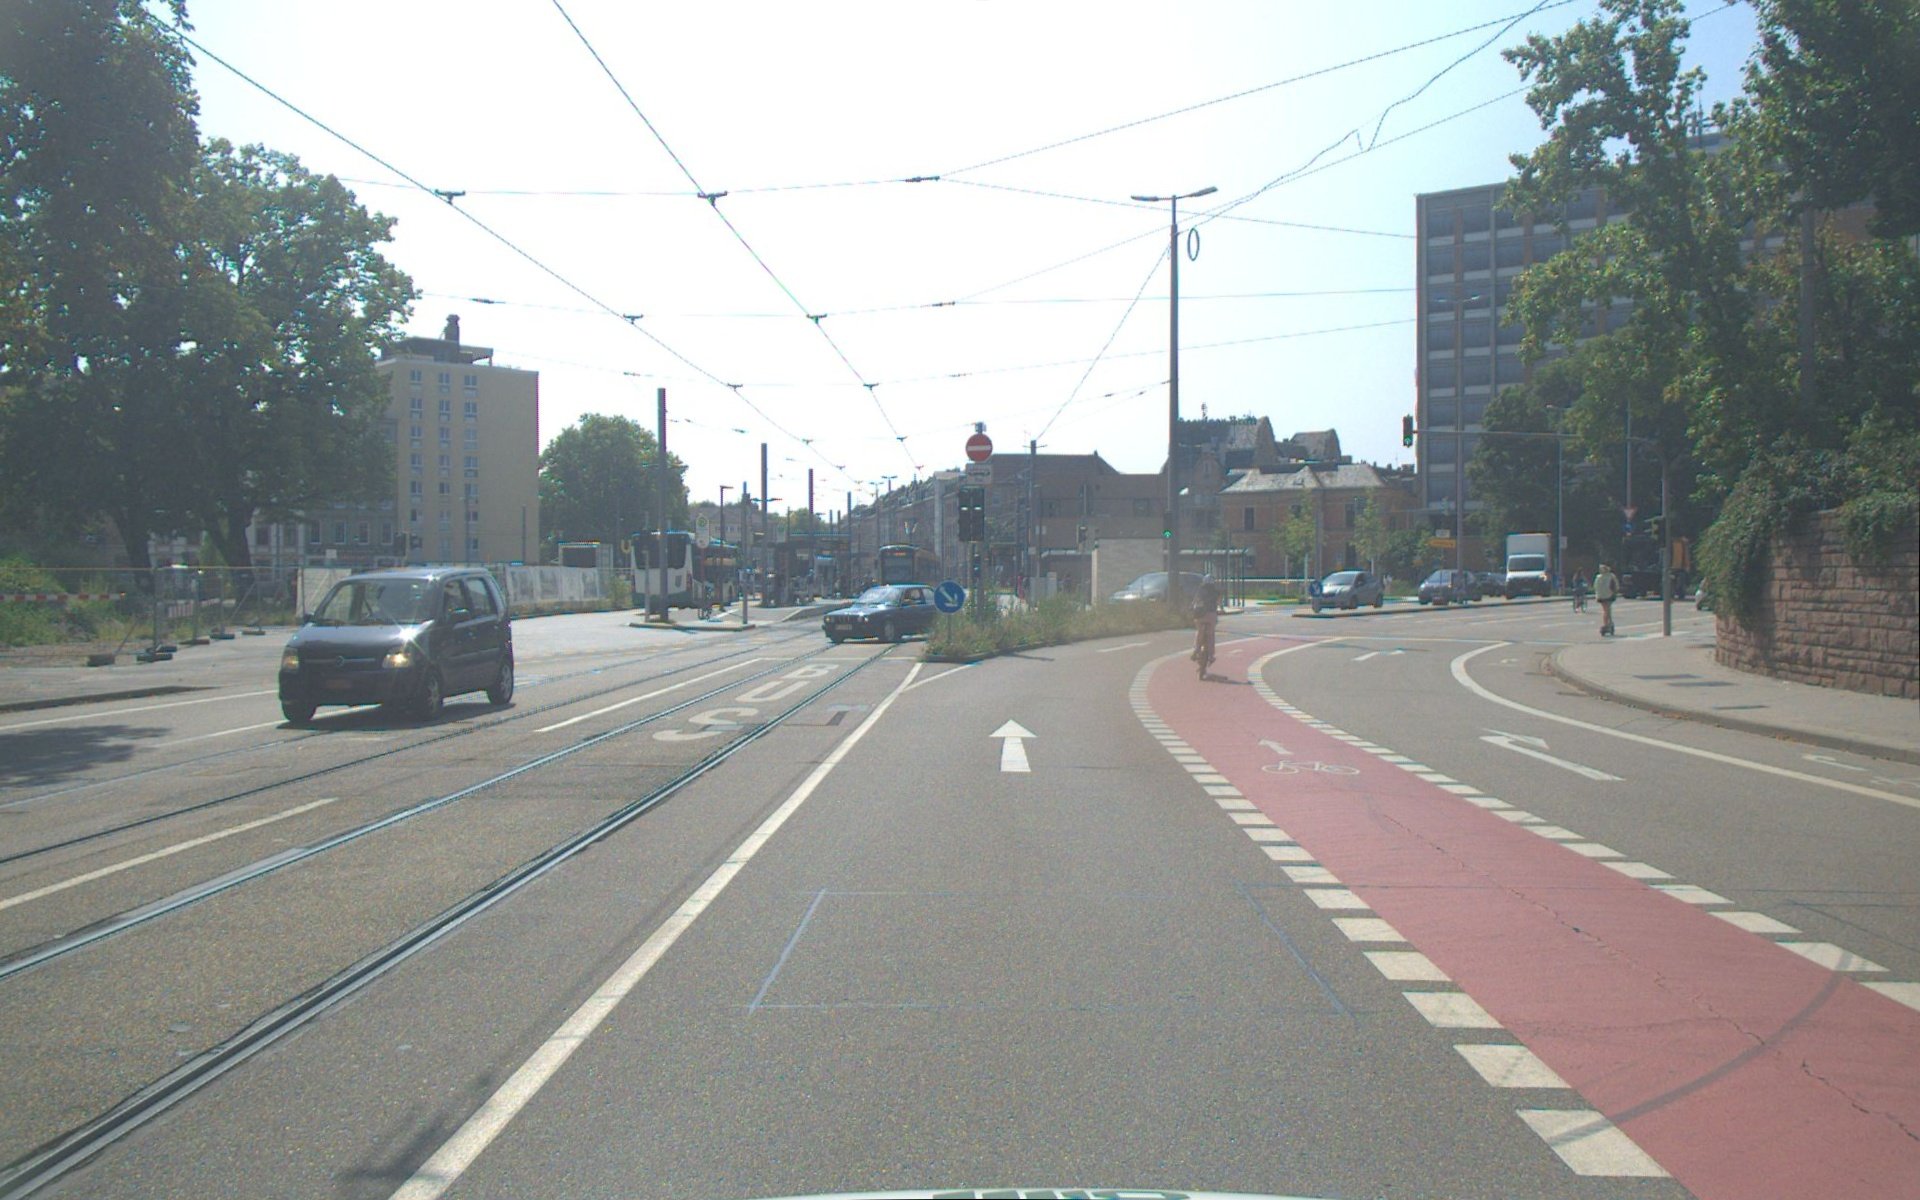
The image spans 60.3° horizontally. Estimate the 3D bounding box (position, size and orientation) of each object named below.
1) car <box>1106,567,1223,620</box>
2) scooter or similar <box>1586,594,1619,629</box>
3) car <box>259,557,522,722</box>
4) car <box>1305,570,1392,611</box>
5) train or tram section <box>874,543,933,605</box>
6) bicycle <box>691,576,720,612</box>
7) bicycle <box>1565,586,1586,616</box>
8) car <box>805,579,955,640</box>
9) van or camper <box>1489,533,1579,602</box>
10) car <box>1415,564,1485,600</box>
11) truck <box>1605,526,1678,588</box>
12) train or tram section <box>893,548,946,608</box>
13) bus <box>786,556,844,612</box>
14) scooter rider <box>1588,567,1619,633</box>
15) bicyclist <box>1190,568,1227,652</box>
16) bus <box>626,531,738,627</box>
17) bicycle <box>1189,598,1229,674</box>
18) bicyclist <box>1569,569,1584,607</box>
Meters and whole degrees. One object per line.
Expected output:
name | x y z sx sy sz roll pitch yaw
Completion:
car | 6.633 -0.216 53.311 1.742 1.638 4.657 0 0 35
scooter or similar | 17.843 0.304 45.909 0.757 0.942 1.619 0 1 25
car | -6.311 0.392 18.738 1.656 1.684 3.582 0 0 2
car | 15.130 -0.387 64.319 1.624 1.557 4.305 -1 0 39
train or tram section | -3.414 -1.559 104.531 2.797 3.610 17.745 0 0 1
bicycle | -8.970 -0.203 58.299 0.594 1.244 1.706 0 0 5
bicycle | 23.862 0.035 64.107 0.436 1.136 1.441 -1 0 35
car | -1.891 0.203 40.658 1.654 1.402 4.614 0 0 26
van or camper | 29.538 -1.630 84.937 2.360 3.364 7.162 -1 0 36
car | 21.733 -0.795 73.240 1.668 1.557 4.167 -1 0 36
truck | 34.955 -2.136 84.696 2.647 3.042 5.953 0 0 31
train or tram section | -2.853 -1.573 123.020 2.826 4.139 19.146 0 0 2
bus | -10.153 -1.102 117.047 2.653 3.792 10.423 0 0 3
scooter rider | 17.905 -0.002 46.023 0.747 1.806 0.554 0 0 26
bicyclist | 4.036 0.158 26.870 0.590 1.358 0.660 0 0 8
bus | -11.861 -0.853 71.628 2.897 3.840 10.598 0 0 1
bicycle | 4.028 0.566 26.837 0.591 1.183 1.812 0 0 7
bicyclist | 23.955 -0.473 64.250 0.442 1.446 0.494 -1 0 35
